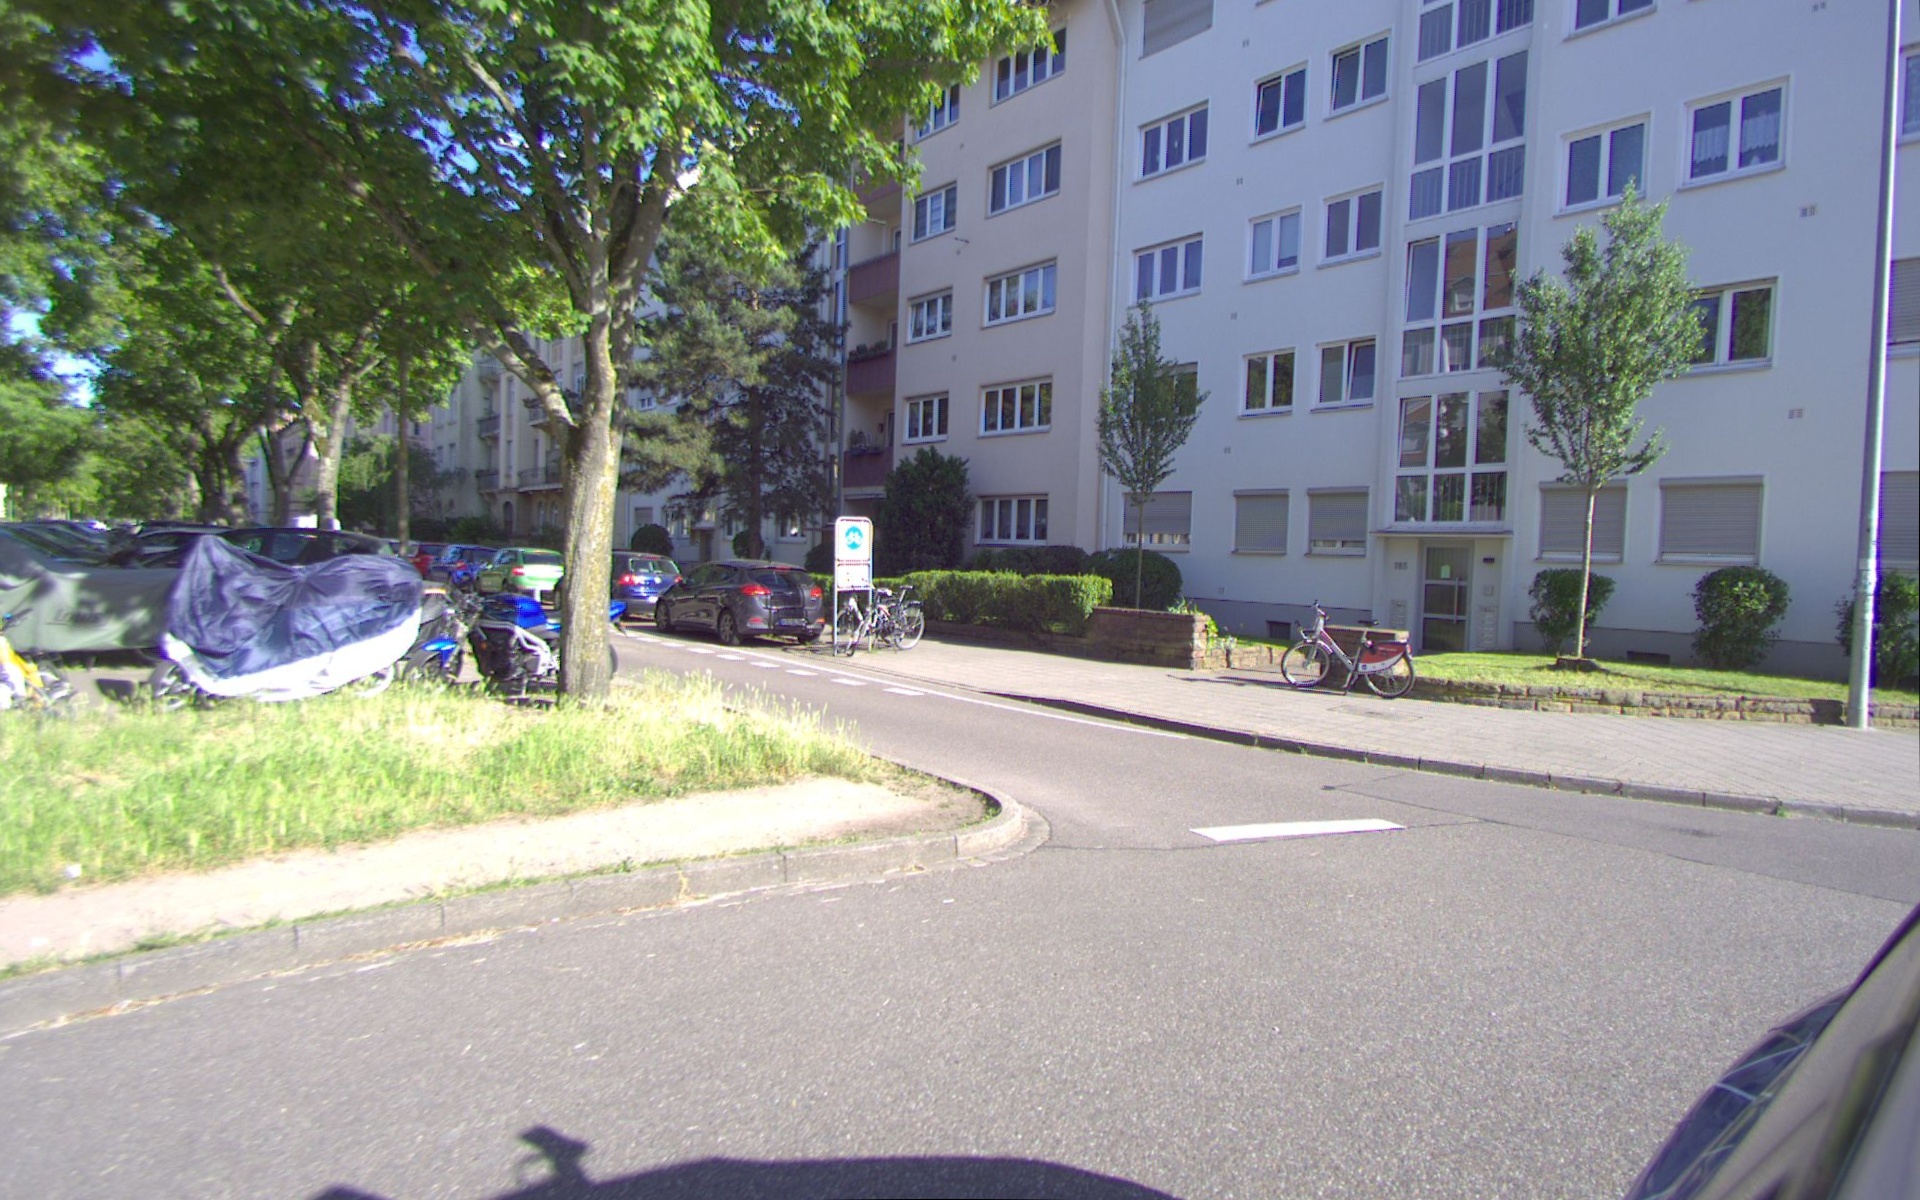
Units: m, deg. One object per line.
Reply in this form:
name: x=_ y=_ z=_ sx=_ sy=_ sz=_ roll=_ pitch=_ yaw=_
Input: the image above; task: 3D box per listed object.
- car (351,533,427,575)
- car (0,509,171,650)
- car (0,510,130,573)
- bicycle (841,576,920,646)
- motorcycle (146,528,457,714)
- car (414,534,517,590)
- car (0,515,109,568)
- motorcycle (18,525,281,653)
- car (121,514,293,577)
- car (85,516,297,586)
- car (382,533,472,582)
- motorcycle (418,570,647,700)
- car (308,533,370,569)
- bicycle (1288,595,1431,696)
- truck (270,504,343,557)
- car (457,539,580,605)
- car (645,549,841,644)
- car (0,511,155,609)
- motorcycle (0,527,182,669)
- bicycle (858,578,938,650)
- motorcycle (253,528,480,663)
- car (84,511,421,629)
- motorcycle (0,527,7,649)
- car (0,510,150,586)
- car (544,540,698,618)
car: x=-23.194 y=-1.899 z=41.046 sx=1.755 sy=1.503 sz=3.993 roll=1 pitch=3 yaw=-43
car: x=-12.537 y=-0.325 z=12.662 sx=3.795 sy=1.660 sz=1.808 roll=2 pitch=3 yaw=-12
car: x=-25.590 y=-1.631 z=27.784 sx=3.915 sy=1.610 sz=1.891 roll=1 pitch=3 yaw=-16
bicycle: x=-1.316 y=0.170 z=16.931 sx=1.426 sy=1.069 sz=0.330 roll=-3 pitch=5 yaw=-43
motorcycle: x=-5.372 y=0.124 z=8.339 sx=2.020 sy=1.344 sz=0.861 roll=-1 pitch=3 yaw=-44
car: x=-15.350 y=-1.205 z=31.302 sx=1.755 sy=1.503 sz=3.993 roll=1 pitch=3 yaw=-43
car: x=-30.386 y=-1.928 z=32.777 sx=3.915 sy=1.610 sz=1.891 roll=1 pitch=3 yaw=-16
motorcycle: x=-8.964 y=-0.141 z=11.283 sx=2.203 sy=1.283 sz=1.051 roll=0 pitch=3 yaw=-41
car: x=-23.194 y=-1.669 z=31.295 sx=3.923 sy=1.744 sz=1.887 roll=2 pitch=3 yaw=-1
car: x=-19.409 y=-1.241 z=25.734 sx=3.915 sy=1.567 sz=1.786 roll=1 pitch=3 yaw=-18
car: x=-18.720 y=-1.502 z=35.471 sx=1.755 sy=1.503 sz=3.993 roll=1 pitch=3 yaw=-43
motorcycle: x=-4.022 y=0.311 z=9.601 sx=1.813 sy=1.086 sz=0.813 roll=1 pitch=2 yaw=-41
car: x=-29.417 y=-2.355 z=47.895 sx=1.755 sy=1.503 sz=3.993 roll=1 pitch=3 yaw=-43
bicycle: x=4.972 y=0.532 z=12.677 sx=1.621 sy=1.091 sz=0.378 roll=4 pitch=5 yaw=44
truck: x=-36.335 y=-3.865 z=56.208 sx=2.371 sy=2.709 sz=5.897 roll=1 pitch=3 yaw=-43
car: x=-11.862 y=-0.770 z=27.051 sx=1.755 sy=1.524 sz=3.993 roll=1 pitch=3 yaw=-43
car: x=-4.050 y=-0.124 z=18.425 sx=1.800 sy=1.429 sz=3.997 roll=1 pitch=3 yaw=-40
car: x=-16.727 y=-0.737 z=17.591 sx=3.915 sy=1.610 sz=1.712 roll=1 pitch=3 yaw=-16
motorcycle: x=-8.916 y=-0.047 z=9.752 sx=2.203 sy=1.283 sz=1.051 roll=0 pitch=3 yaw=-41
bicycle: x=-1.007 y=0.209 z=16.575 sx=1.426 sy=1.069 sz=0.330 roll=-3 pitch=5 yaw=-43
motorcycle: x=-6.840 y=-0.082 z=11.722 sx=2.091 sy=1.409 sz=1.061 roll=0 pitch=4 yaw=-43
car: x=-10.662 y=-0.447 z=15.652 sx=3.916 sy=1.617 sz=2.005 roll=1 pitch=2 yaw=-23
motorcycle: x=-11.310 y=-0.144 z=10.364 sx=2.203 sy=1.283 sz=1.051 roll=0 pitch=3 yaw=-41
car: x=-21.213 y=-1.216 z=23.027 sx=3.915 sy=1.610 sz=1.891 roll=1 pitch=3 yaw=-16
car: x=-7.659 y=-0.510 z=22.686 sx=1.755 sy=1.503 sz=3.993 roll=1 pitch=3 yaw=-43
